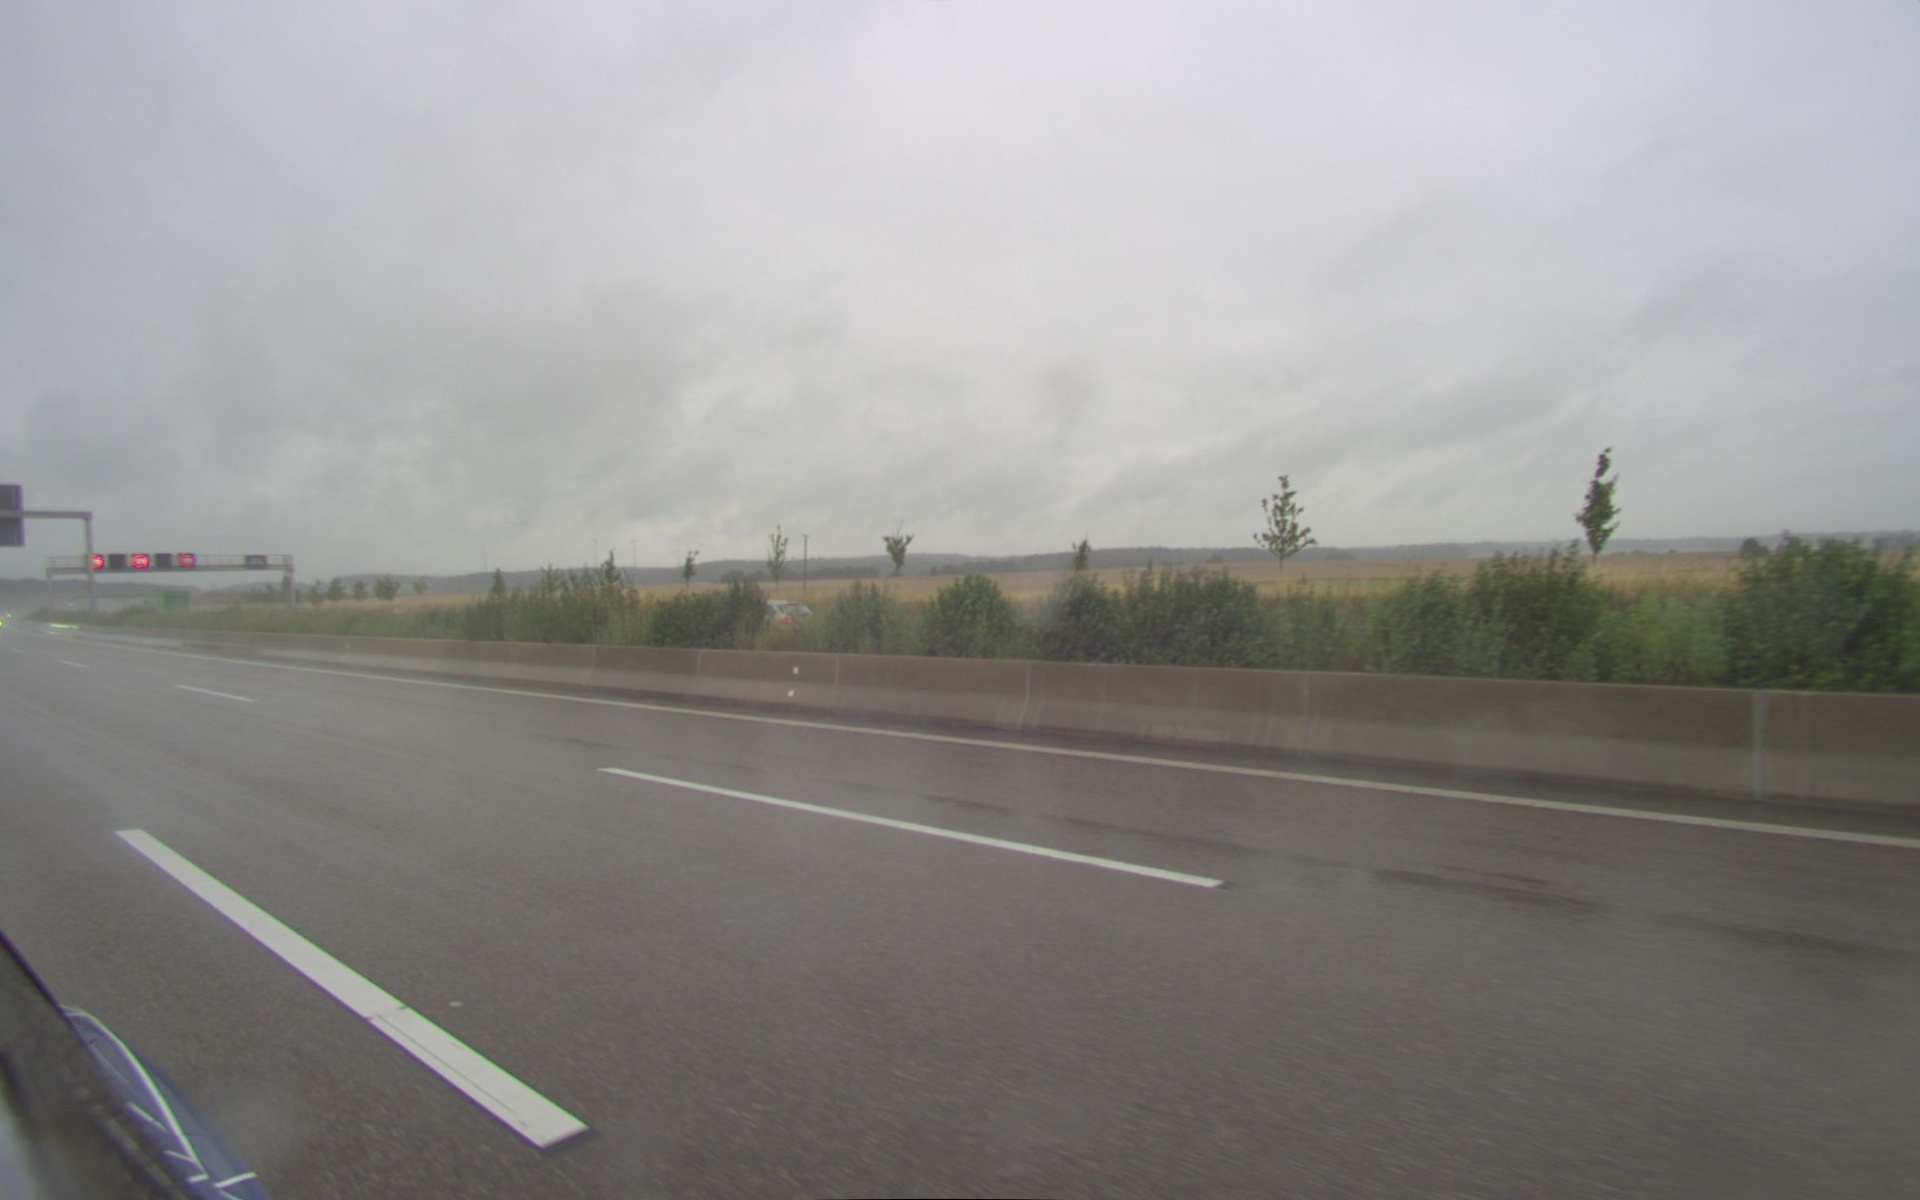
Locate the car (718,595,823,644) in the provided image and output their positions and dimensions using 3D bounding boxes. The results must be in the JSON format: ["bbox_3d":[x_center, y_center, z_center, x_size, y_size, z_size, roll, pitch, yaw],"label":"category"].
[{"bbox_3d":[-6.637,0.680,35.243,3.719,1.608,1.661,-1,-1,41],"label":"car"}]

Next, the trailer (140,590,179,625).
[{"bbox_3d":[-97.898,1.027,123.672,14.307,4.070,1.971,-1,-1,44],"label":"trailer"}]
